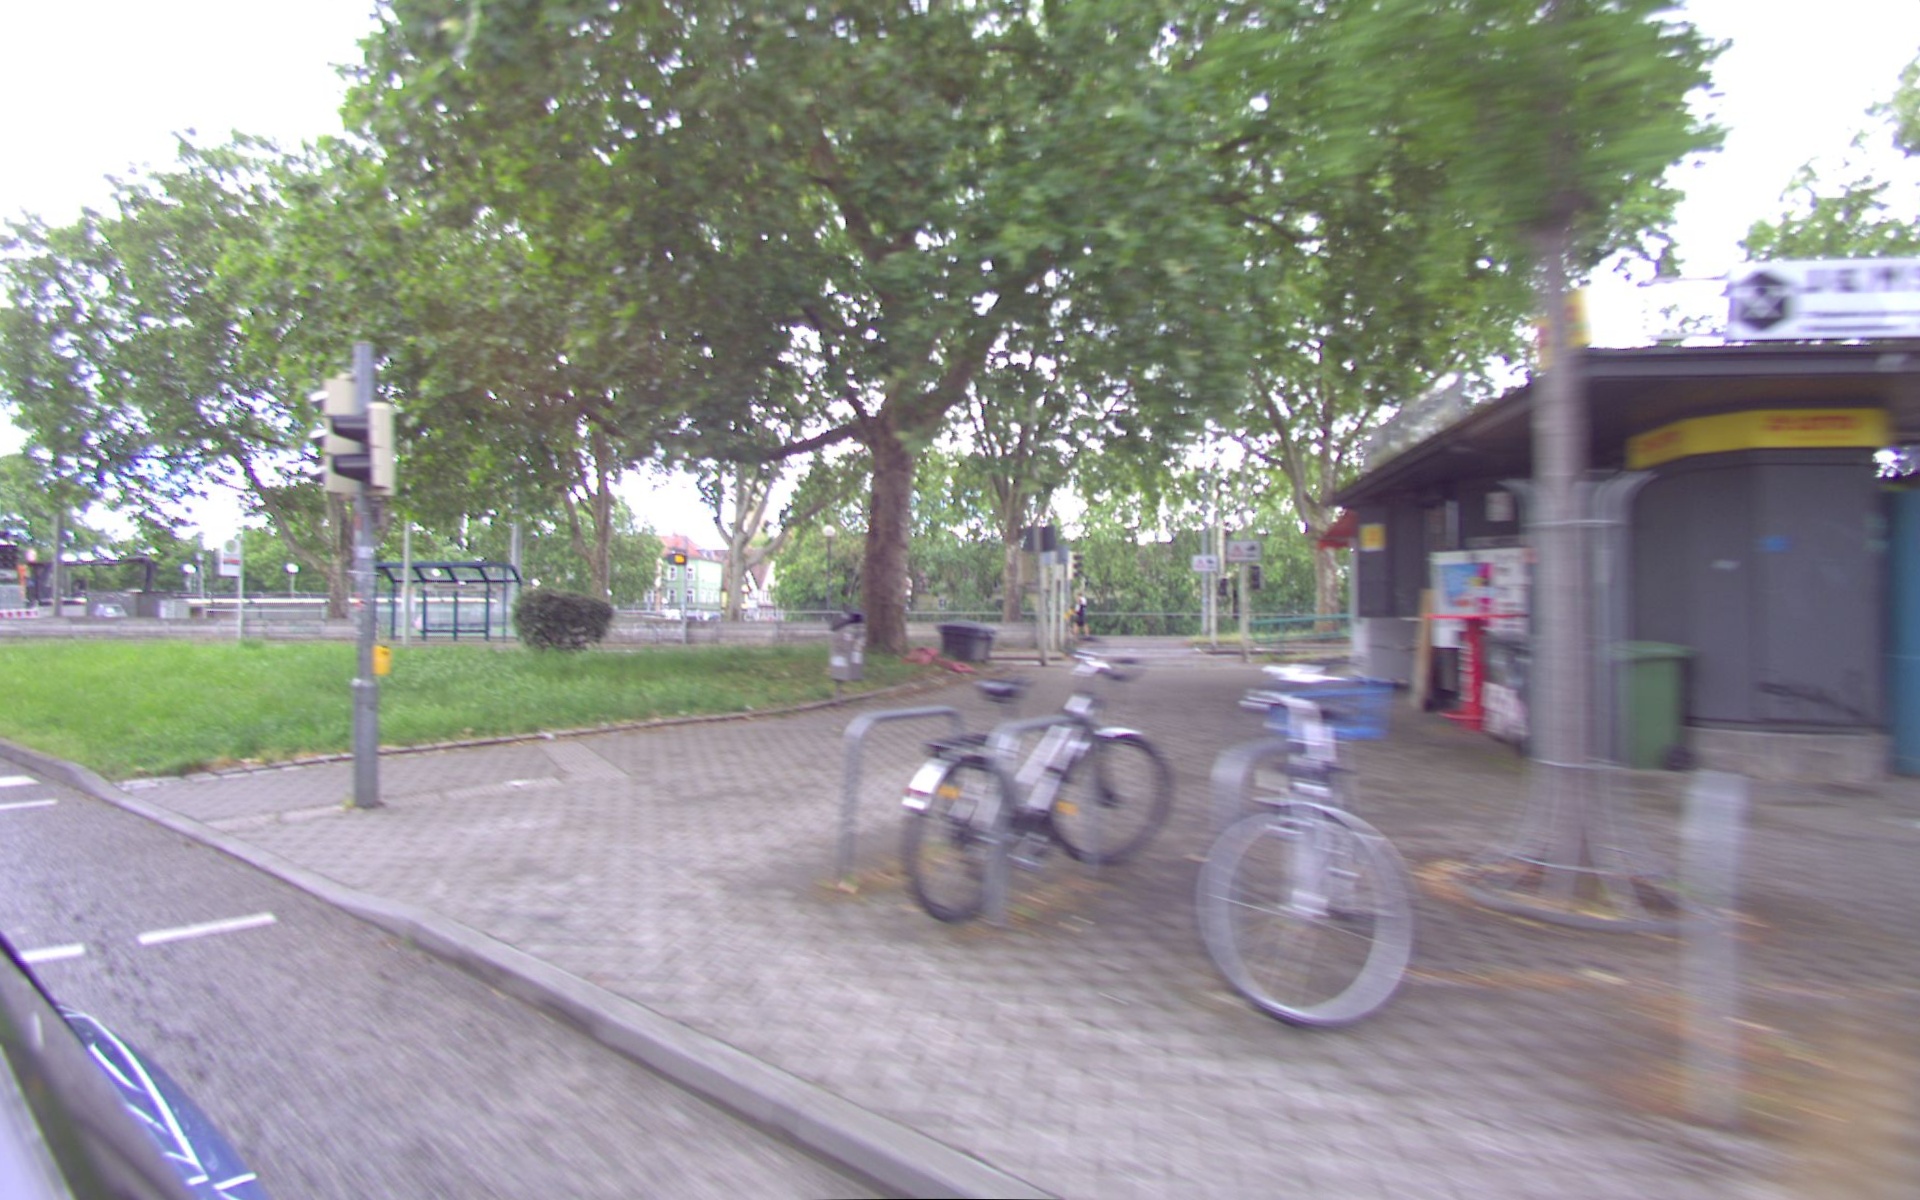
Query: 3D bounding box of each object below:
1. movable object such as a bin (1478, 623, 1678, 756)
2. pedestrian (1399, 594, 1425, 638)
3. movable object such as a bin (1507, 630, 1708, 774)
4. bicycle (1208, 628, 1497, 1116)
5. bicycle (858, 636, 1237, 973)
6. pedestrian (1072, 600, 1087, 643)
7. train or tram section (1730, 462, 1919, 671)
[{"bbox_3d":[5.153,0.725,8.527,1.099,0.972,0.966,-2,2,7],"label":"movable object such as a bin"},{"bbox_3d":[16.994,0.597,38.058,0.525,1.635,0.669,0,2,-14],"label":"pedestrian"},{"bbox_3d":[4.872,0.758,7.672,1.066,0.972,0.672,-2,2,7],"label":"movable object such as a bin"},{"bbox_3d":[1.433,0.727,3.571,0.721,1.185,1.792,-1,0,26],"label":"bicycle"},{"bbox_3d":[0.469,0.770,4.503,1.847,1.122,0.578,-2,0,-43],"label":"bicycle"},{"bbox_3d":[4.653,0.827,39.405,0.528,1.635,0.501,1,2,8],"label":"pedestrian"},{"bbox_3d":[21.210,-0.586,18.668,10.883,3.699,2.917,1,2,10],"label":"train or tram section"}]
